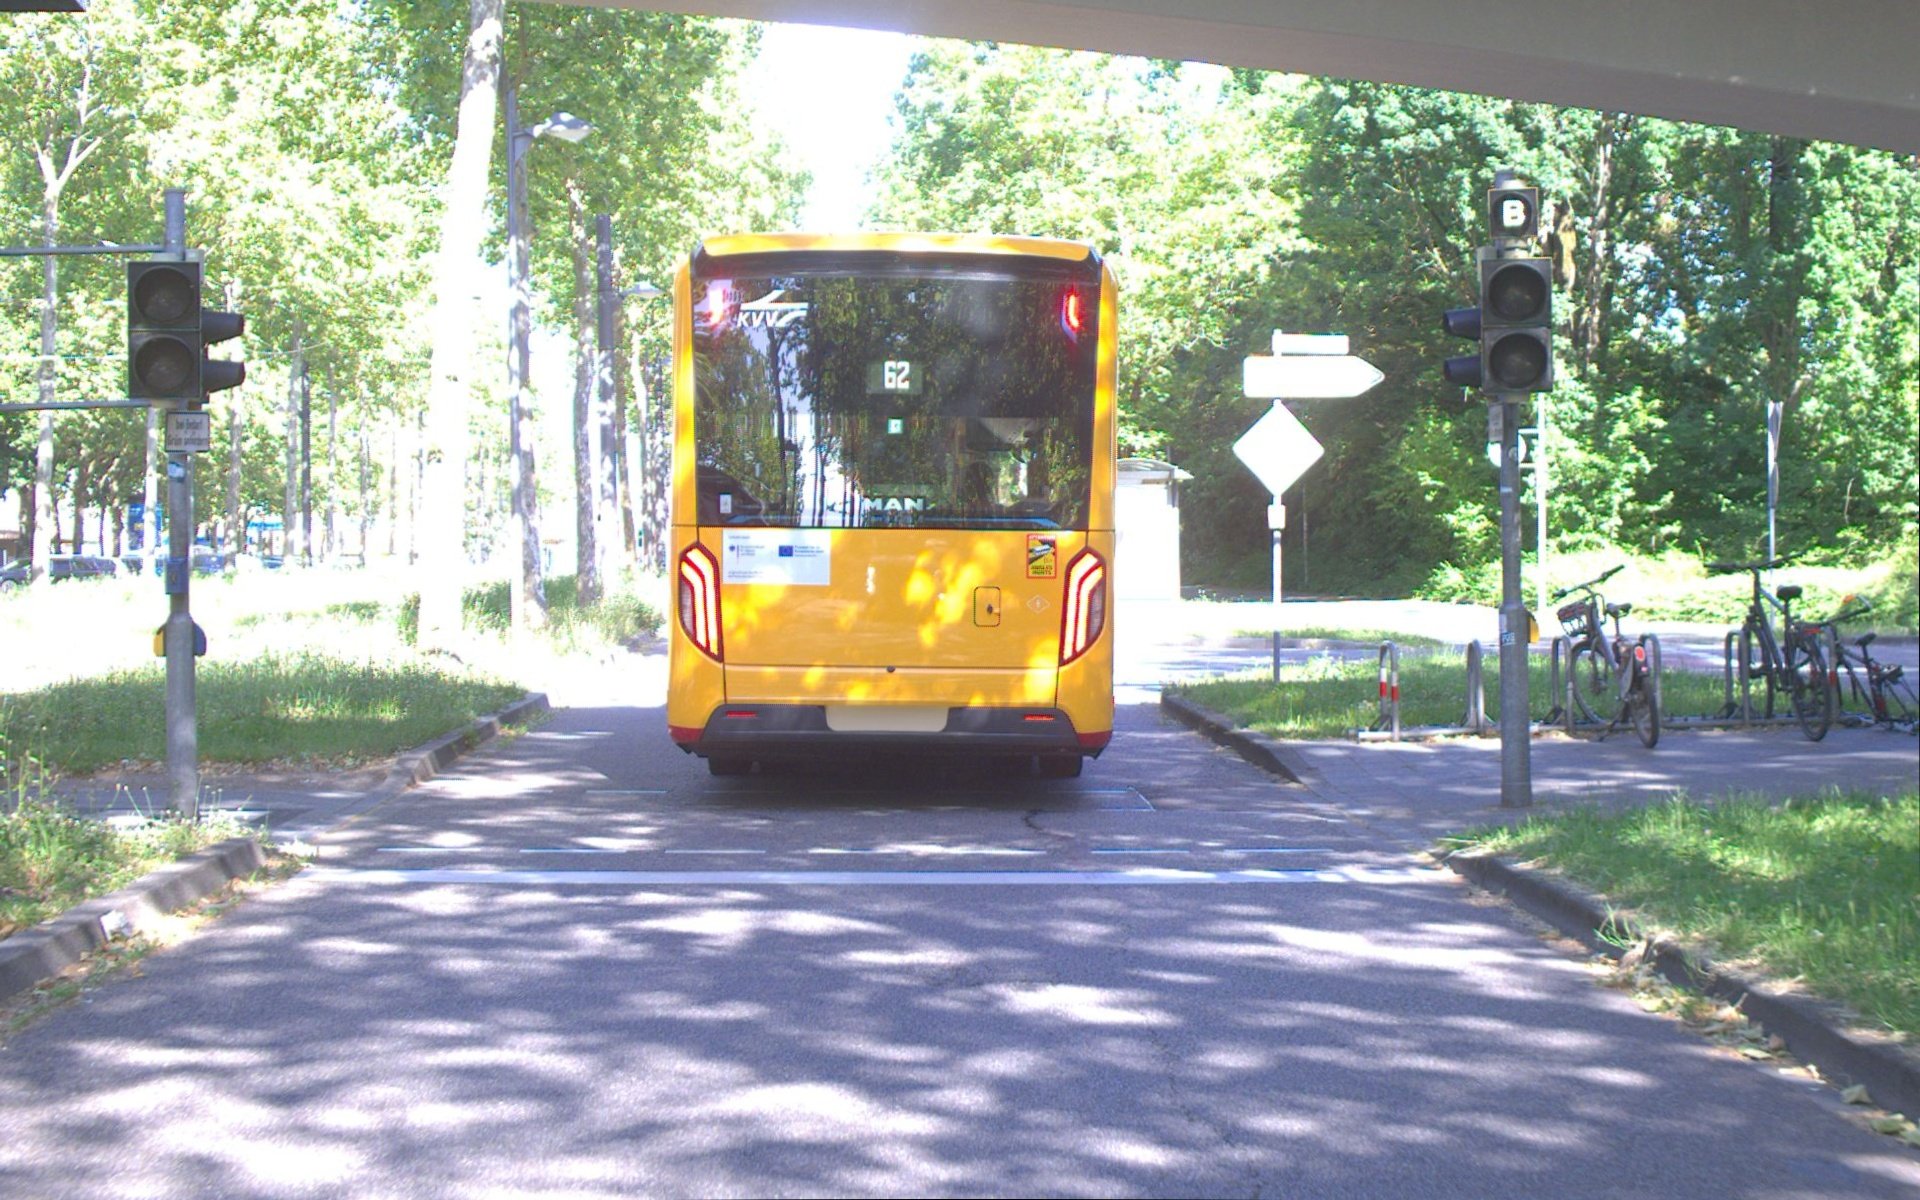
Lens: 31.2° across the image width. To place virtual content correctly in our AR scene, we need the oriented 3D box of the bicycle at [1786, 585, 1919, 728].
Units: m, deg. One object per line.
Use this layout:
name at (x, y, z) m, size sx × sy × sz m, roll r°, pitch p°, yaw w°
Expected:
bicycle at (6.005, 0.364, 23.009) m, size 0.505 × 0.849 × 1.474 m, roll -4°, pitch 2°, yaw -2°

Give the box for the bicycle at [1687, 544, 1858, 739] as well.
bicycle at (5.374, 0.250, 22.825) m, size 0.590 × 1.178 × 1.800 m, roll -4°, pitch 2°, yaw -2°

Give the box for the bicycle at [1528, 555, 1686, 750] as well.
bicycle at (4.281, 0.325, 22.860) m, size 0.590 × 1.178 × 1.800 m, roll -4°, pitch 2°, yaw -2°

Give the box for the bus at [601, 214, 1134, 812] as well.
bus at (-0.718, -0.591, 24.959) m, size 2.899 × 3.255 × 12.219 m, roll 0°, pitch 1°, yaw -2°

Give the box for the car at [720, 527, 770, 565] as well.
car at (-9.990, -2.532, 159.977) m, size 1.986 × 1.637 × 4.134 m, roll 2°, pitch 2°, yaw 0°
